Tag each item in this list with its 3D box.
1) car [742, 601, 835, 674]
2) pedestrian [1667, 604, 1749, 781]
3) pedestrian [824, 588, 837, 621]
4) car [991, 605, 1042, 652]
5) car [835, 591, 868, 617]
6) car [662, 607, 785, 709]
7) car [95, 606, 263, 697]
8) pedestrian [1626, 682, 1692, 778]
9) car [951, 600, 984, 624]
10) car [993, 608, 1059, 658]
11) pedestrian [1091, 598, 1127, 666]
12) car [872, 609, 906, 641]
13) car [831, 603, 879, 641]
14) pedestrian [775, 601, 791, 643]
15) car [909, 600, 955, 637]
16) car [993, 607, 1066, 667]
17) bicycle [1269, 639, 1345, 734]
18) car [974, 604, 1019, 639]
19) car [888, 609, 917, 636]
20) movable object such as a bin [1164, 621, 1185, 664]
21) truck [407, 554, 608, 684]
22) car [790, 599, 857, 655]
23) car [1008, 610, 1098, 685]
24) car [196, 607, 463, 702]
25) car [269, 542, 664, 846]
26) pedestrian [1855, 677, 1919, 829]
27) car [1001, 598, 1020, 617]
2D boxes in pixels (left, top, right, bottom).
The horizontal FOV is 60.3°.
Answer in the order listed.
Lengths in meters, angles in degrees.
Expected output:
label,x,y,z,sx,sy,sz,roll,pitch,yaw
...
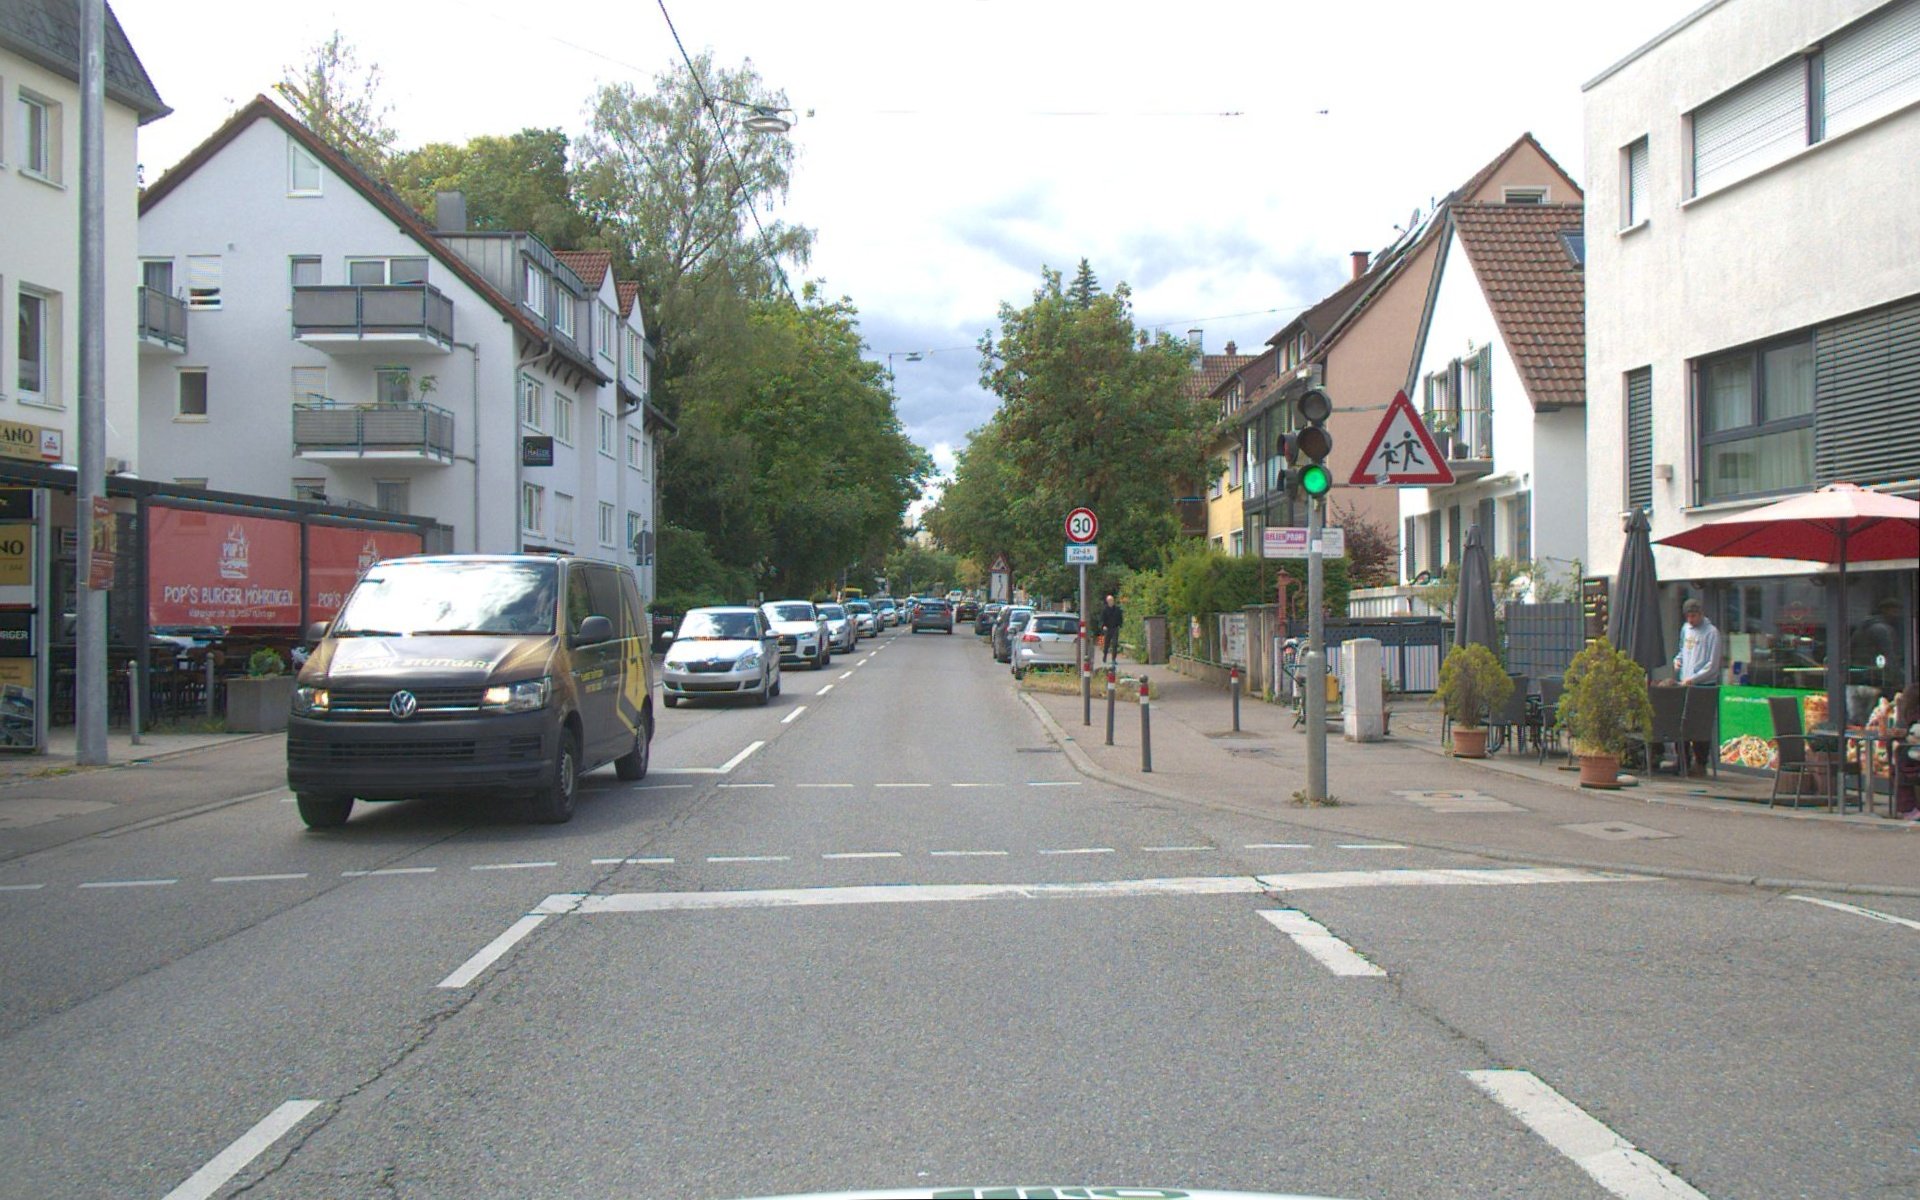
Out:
label,x,y,z,sx,sy,sz,roll,pitch,yaw
car,-4.054,0.853,39.679,1.769,1.598,4.158,-2,0,-1
pedestrian,7.772,0.945,17.194,0.421,1.793,0.671,1,-1,-21
pedestrian,-7.191,0.241,91.760,0.700,1.793,1.120,0,-1,-6
car,1.914,0.967,56.955,1.588,1.534,3.778,0,0,-1
car,-8.530,0.327,130.462,2.101,2.015,4.932,0,-1,2
car,-3.708,0.869,26.402,1.585,1.512,3.811,0,0,-3
car,-13.594,0.883,28.761,2.793,1.496,1.559,-1,-2,38
pedestrian,7.262,1.345,17.188,0.412,0.954,0.494,1,-1,-21
car,0.525,0.775,111.162,1.777,1.527,4.269,1,0,5
car,2.017,0.996,51.556,1.952,1.448,4.589,0,0,1
pedestrian,3.891,0.830,43.206,0.862,1.742,0.842,0,-1,1
car,-4.083,1.416,95.454,1.749,1.677,4.490,-2,0,0
car,-4.302,0.885,68.340,1.724,1.464,3.970,-2,0,-1
pedestrian,-7.163,0.901,67.027,0.640,1.696,0.930,0,-1,-6
car,-1.239,0.806,75.318,1.936,1.539,4.267,3,0,0
car,1.872,0.980,45.647,1.699,1.453,4.882,3,0,0
bicycle,4.556,1.108,21.838,0.705,1.170,2.214,0,-1,5
car,1.633,0.979,75.787,1.765,1.470,4.885,2,0,-1
car,-3.717,1.468,107.467,1.748,1.619,4.153,-2,0,0
movable object such as a bin,5.501,1.087,42.490,0.512,1.099,0.604,0,-1,5
truck,-9.120,0.395,34.043,2.178,2.421,6.327,0,-1,2
car,-4.057,0.778,49.842,1.693,1.529,4.375,-2,0,-1
car,2.022,1.012,37.128,1.666,1.506,4.871,1,0,0
car,-10.065,0.861,26.633,3.620,1.450,1.803,1,0,-5
car,-3.602,0.618,13.046,1.839,1.946,4.749,1,0,-2
pedestrian,7.307,1.155,12.629,0.559,1.108,0.629,1,-1,-26
car,5.325,0.809,175.756,1.952,2.049,4.000,0,-1,1
